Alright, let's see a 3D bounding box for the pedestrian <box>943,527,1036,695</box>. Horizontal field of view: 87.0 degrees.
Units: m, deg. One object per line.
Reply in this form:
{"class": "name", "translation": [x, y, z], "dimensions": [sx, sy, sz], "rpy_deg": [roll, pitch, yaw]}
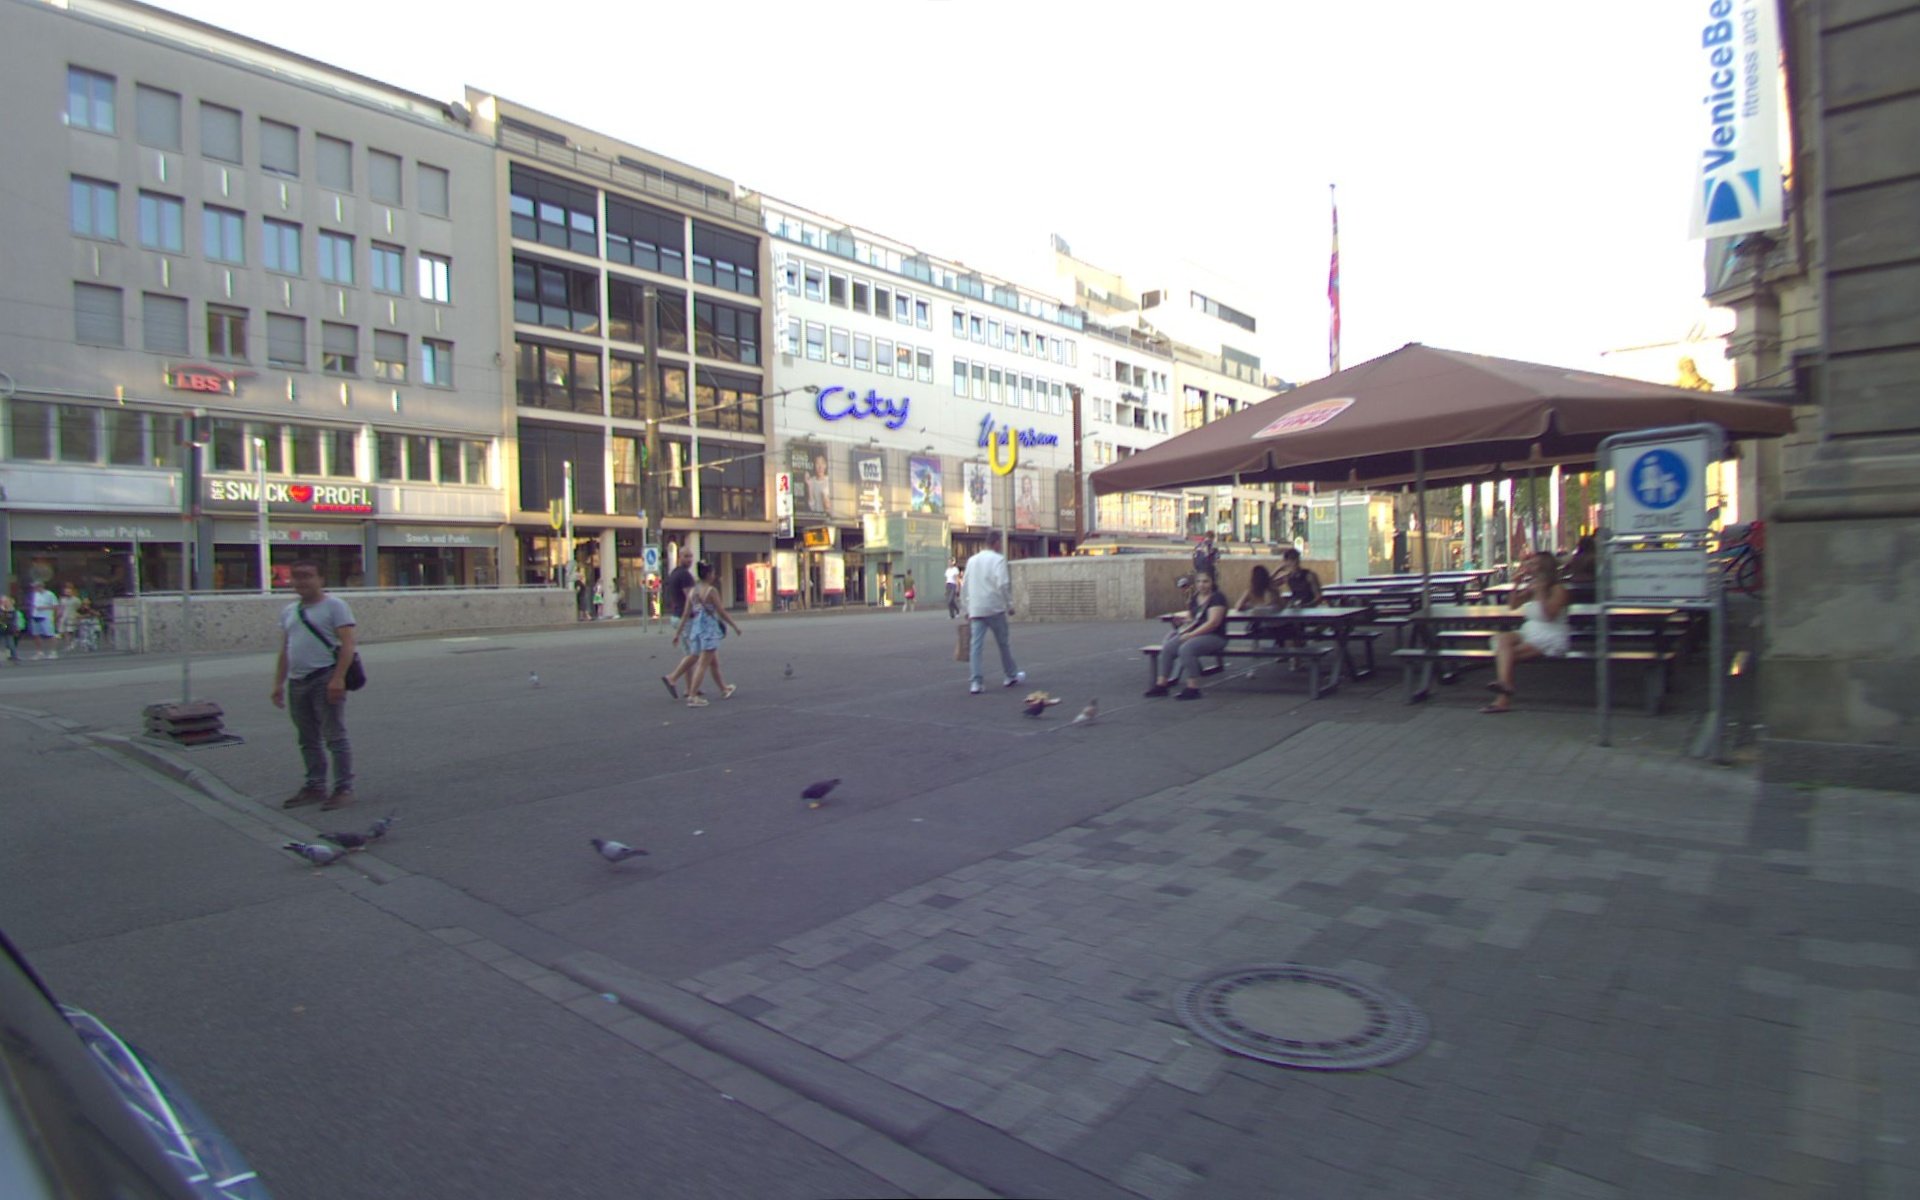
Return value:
{"class": "pedestrian", "translation": [0.334, 0.119, 11.131], "dimensions": [0.796, 1.775, 0.681], "rpy_deg": [-1, 0, 27]}

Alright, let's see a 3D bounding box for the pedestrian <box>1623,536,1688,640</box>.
{"class": "pedestrian", "translation": [8.632, -0.154, 12.560], "dimensions": [0.570, 1.253, 0.554], "rpy_deg": [-4, 2, -44]}

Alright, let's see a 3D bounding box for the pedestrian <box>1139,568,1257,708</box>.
{"class": "pedestrian", "translation": [2.361, 0.349, 10.055], "dimensions": [0.766, 1.283, 0.789], "rpy_deg": [-4, 3, -33]}

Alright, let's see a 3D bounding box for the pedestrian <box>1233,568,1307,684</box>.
{"class": "pedestrian", "translation": [3.377, 0.274, 11.056], "dimensions": [0.637, 1.199, 0.559], "rpy_deg": [-3, 2, 6]}

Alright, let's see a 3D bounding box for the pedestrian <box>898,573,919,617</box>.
{"class": "pedestrian", "translation": [-2.027, -0.205, 39.827], "dimensions": [0.570, 1.693, 0.655], "rpy_deg": [-1, 1, 23]}

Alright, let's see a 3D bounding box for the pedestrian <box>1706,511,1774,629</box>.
{"class": "pedestrian", "translation": [13.813, -0.536, 17.942], "dimensions": [0.732, 2.028, 0.690], "rpy_deg": [-1, 2, 17]}

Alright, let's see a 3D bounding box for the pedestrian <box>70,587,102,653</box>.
{"class": "pedestrian", "translation": [-23.328, 0.528, 27.012], "dimensions": [0.558, 1.721, 0.539], "rpy_deg": [-1, 1, 41]}

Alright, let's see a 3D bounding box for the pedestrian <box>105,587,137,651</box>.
{"class": "pedestrian", "translation": [-22.994, 0.525, 27.738], "dimensions": [0.558, 1.721, 0.539], "rpy_deg": [-1, 1, 41]}

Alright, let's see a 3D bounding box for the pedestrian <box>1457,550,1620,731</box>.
{"class": "pedestrian", "translation": [4.522, 0.286, 7.922], "dimensions": [0.850, 1.281, 0.752], "rpy_deg": [-5, 3, -31]}

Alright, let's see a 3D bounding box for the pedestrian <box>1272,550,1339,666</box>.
{"class": "pedestrian", "translation": [4.178, 0.086, 12.231], "dimensions": [0.611, 1.346, 0.556], "rpy_deg": [-1, 3, 34]}

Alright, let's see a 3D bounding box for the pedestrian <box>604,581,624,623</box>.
{"class": "pedestrian", "translation": [-13.305, 0.062, 38.904], "dimensions": [0.488, 1.598, 0.570], "rpy_deg": [-1, 1, 9]}

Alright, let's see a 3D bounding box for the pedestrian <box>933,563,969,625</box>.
{"class": "pedestrian", "translation": [-0.255, -0.166, 29.390], "dimensions": [0.676, 1.775, 0.801], "rpy_deg": [-1, 0, -39]}

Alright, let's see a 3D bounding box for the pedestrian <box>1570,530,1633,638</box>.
{"class": "pedestrian", "translation": [8.263, -0.211, 13.038], "dimensions": [0.570, 1.355, 0.554], "rpy_deg": [-4, 2, -44]}

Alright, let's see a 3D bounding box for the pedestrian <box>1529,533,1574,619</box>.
{"class": "pedestrian", "translation": [11.768, -0.472, 20.143], "dimensions": [0.650, 1.673, 0.641], "rpy_deg": [-1, 2, 41]}

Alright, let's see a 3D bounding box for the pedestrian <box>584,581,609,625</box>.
{"class": "pedestrian", "translation": [-14.036, 0.119, 39.062], "dimensions": [0.617, 1.665, 0.668], "rpy_deg": [-1, 1, 9]}

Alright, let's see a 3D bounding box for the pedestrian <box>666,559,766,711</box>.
{"class": "pedestrian", "translation": [-2.679, 0.363, 11.190], "dimensions": [0.731, 1.602, 0.862], "rpy_deg": [-1, 2, 12]}

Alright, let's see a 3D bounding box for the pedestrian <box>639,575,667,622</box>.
{"class": "pedestrian", "translation": [-11.318, -0.053, 37.301], "dimensions": [0.699, 1.721, 0.681], "rpy_deg": [-3, 1, -44]}

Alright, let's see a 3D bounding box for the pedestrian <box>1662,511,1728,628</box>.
{"class": "pedestrian", "translation": [13.118, -0.542, 18.083], "dimensions": [0.732, 2.028, 0.690], "rpy_deg": [-1, 2, 17]}

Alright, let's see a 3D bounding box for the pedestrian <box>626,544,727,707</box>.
{"class": "pedestrian", "translation": [-3.213, 0.271, 11.534], "dimensions": [0.737, 1.774, 0.859], "rpy_deg": [-1, 2, 12]}

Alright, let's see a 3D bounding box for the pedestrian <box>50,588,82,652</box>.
{"class": "pedestrian", "translation": [-24.624, 0.545, 27.865], "dimensions": [0.558, 1.721, 0.539], "rpy_deg": [-1, 1, 41]}

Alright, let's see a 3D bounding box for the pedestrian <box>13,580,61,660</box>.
{"class": "pedestrian", "translation": [-22.400, 0.467, 24.565], "dimensions": [0.641, 1.907, 0.773], "rpy_deg": [0, 1, 40]}

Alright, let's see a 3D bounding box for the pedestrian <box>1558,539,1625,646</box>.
{"class": "pedestrian", "translation": [7.640, -0.100, 12.243], "dimensions": [0.570, 1.253, 0.554], "rpy_deg": [-4, 2, -44]}

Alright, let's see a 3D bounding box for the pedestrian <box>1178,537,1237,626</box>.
{"class": "pedestrian", "translation": [4.884, -0.371, 19.994], "dimensions": [0.811, 1.705, 0.717], "rpy_deg": [-4, 3, -35]}

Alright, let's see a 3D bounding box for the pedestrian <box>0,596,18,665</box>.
{"class": "pedestrian", "translation": [-21.754, 0.681, 22.756], "dimensions": [0.664, 1.552, 0.644], "rpy_deg": [-1, 1, -29]}

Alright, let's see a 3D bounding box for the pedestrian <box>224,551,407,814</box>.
{"class": "pedestrian", "translation": [-4.319, 0.528, 6.830], "dimensions": [0.734, 1.672, 0.752], "rpy_deg": [-1, 0, 5]}
